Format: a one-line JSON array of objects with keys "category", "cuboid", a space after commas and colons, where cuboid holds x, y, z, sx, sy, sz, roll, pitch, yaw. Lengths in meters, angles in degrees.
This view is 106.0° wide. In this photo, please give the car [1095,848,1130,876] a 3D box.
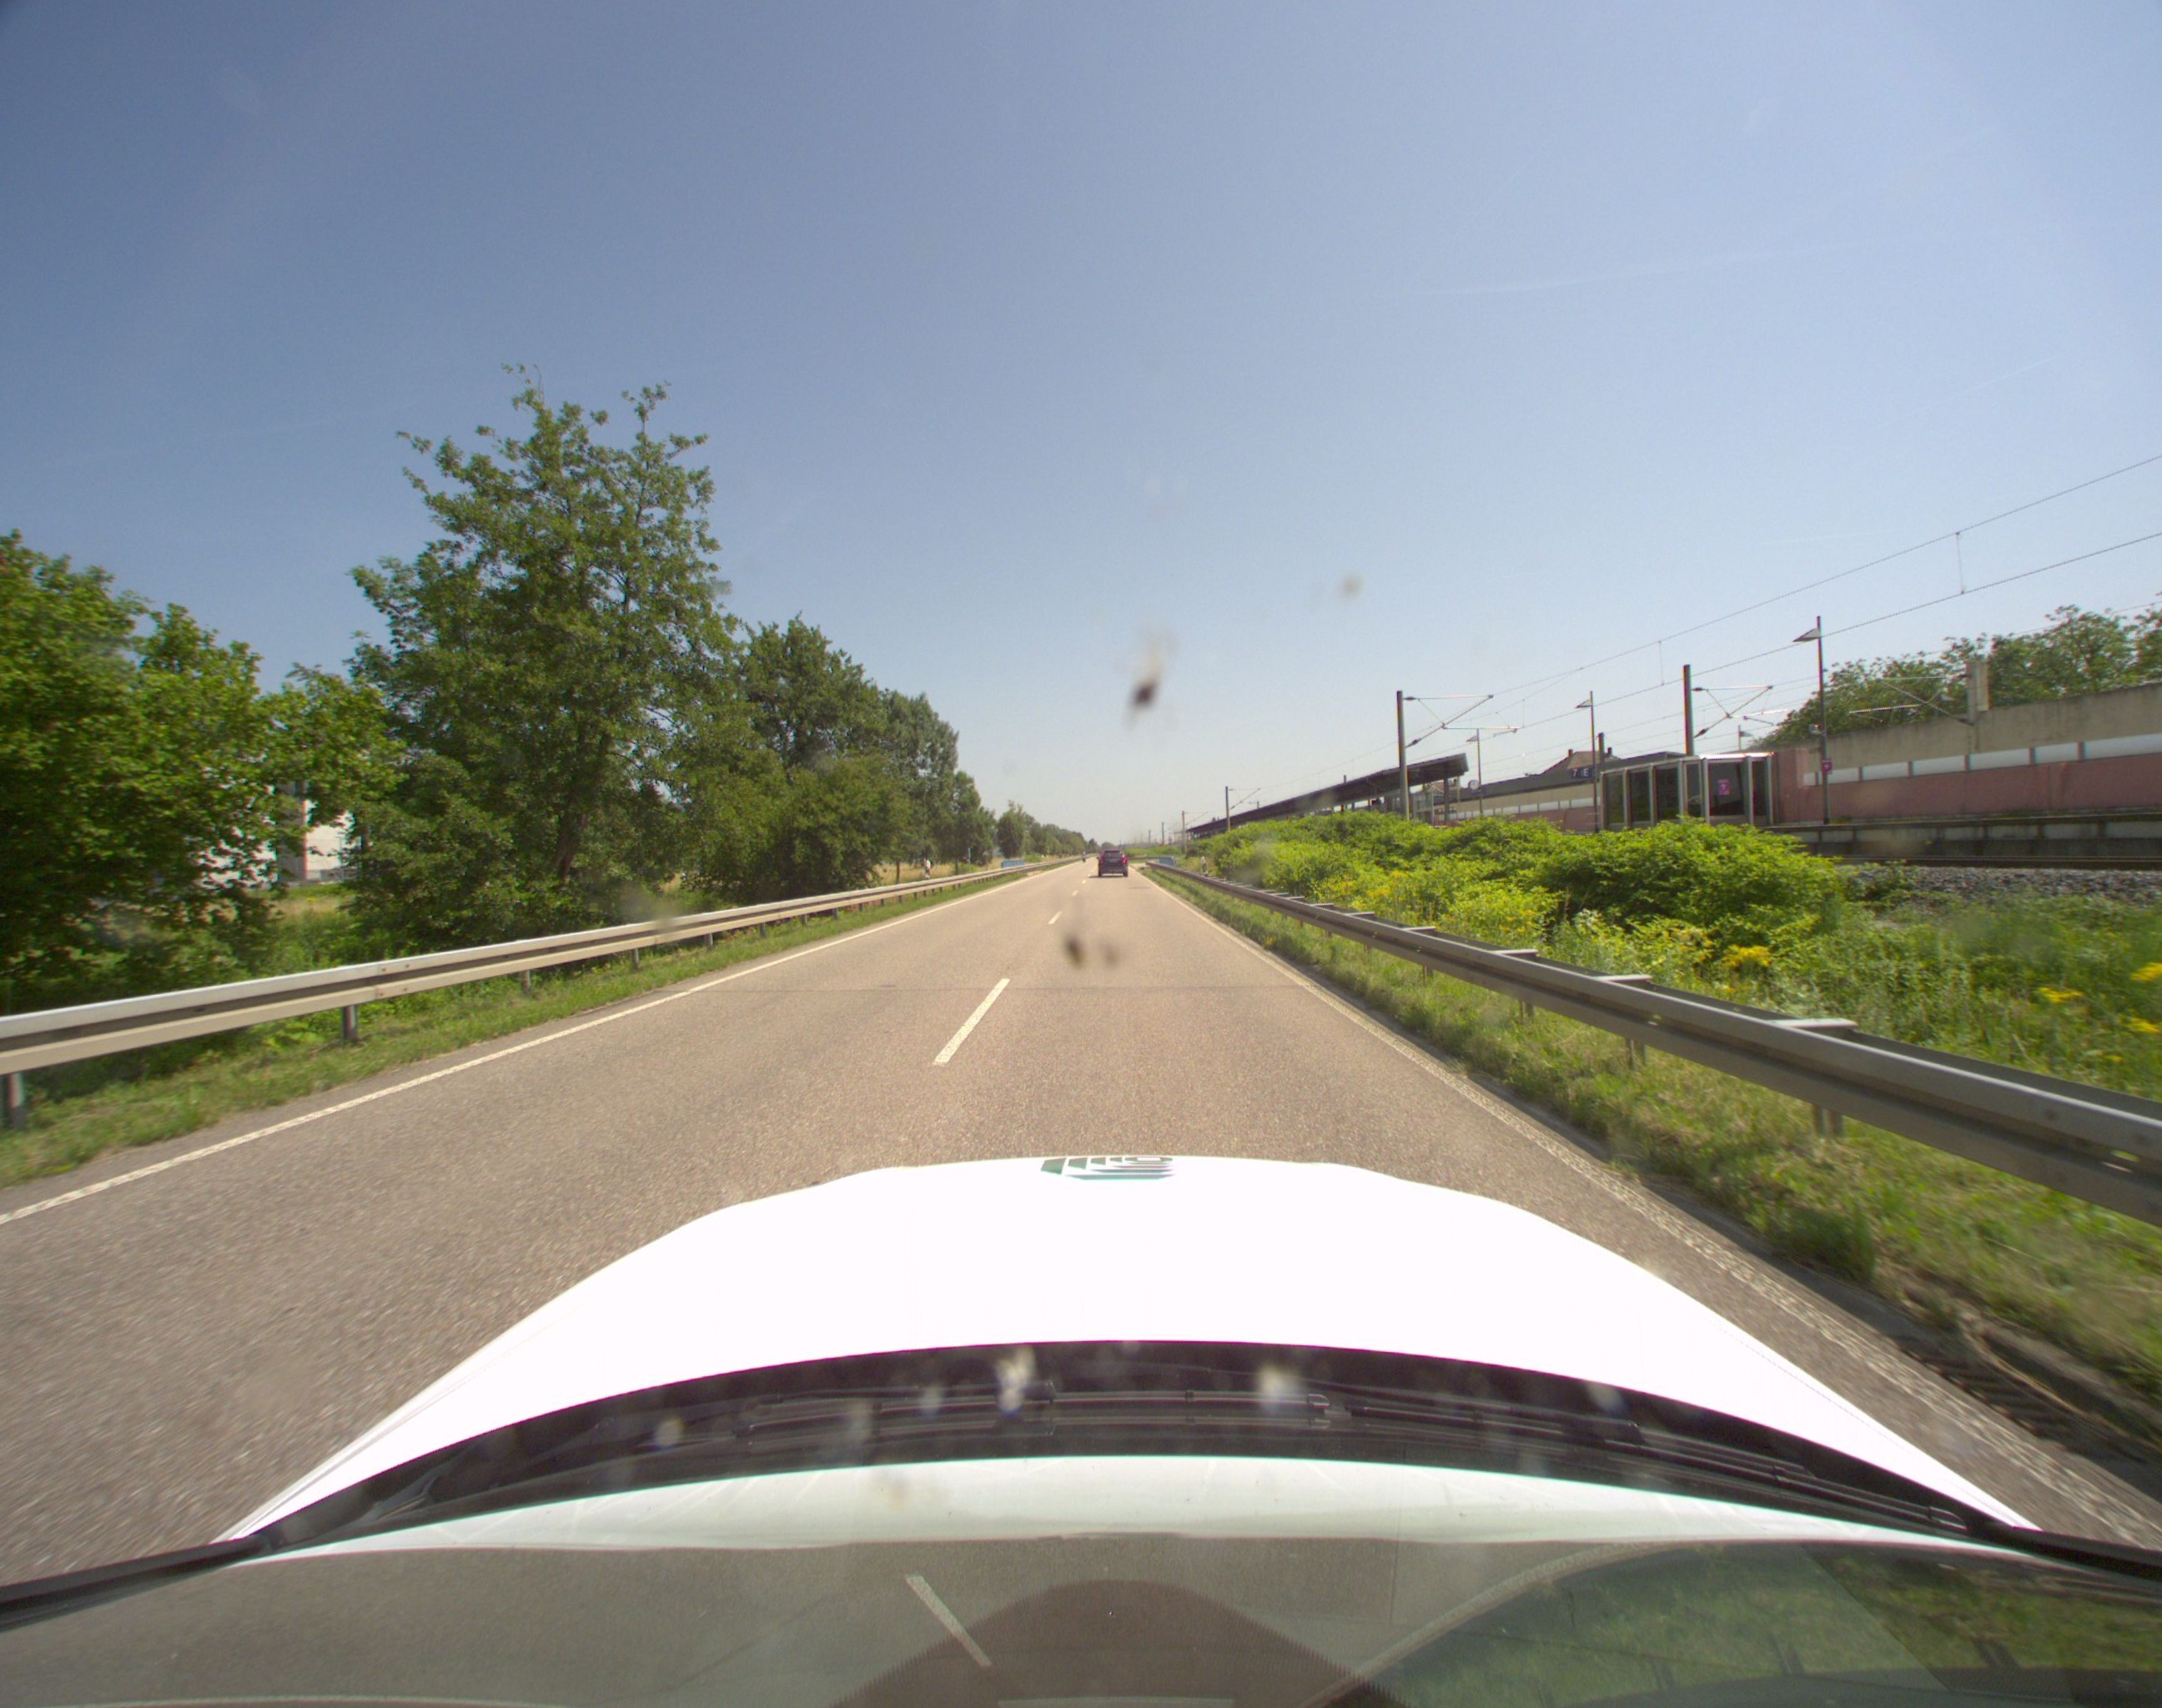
[{"category": "car", "cuboid": [1.948, 0.487, 51.750, 1.987, 1.700, 3.999, -1, 0, -1]}]

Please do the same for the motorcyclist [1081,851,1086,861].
[{"category": "motorcyclist", "cuboid": [0.439, 0.304, 130.579, 0.723, 1.465, 0.988, -1, 0, 4]}]

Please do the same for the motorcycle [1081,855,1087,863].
[{"category": "motorcycle", "cuboid": [0.452, 0.820, 130.561, 0.686, 1.234, 2.372, -1, 0, 4]}]
